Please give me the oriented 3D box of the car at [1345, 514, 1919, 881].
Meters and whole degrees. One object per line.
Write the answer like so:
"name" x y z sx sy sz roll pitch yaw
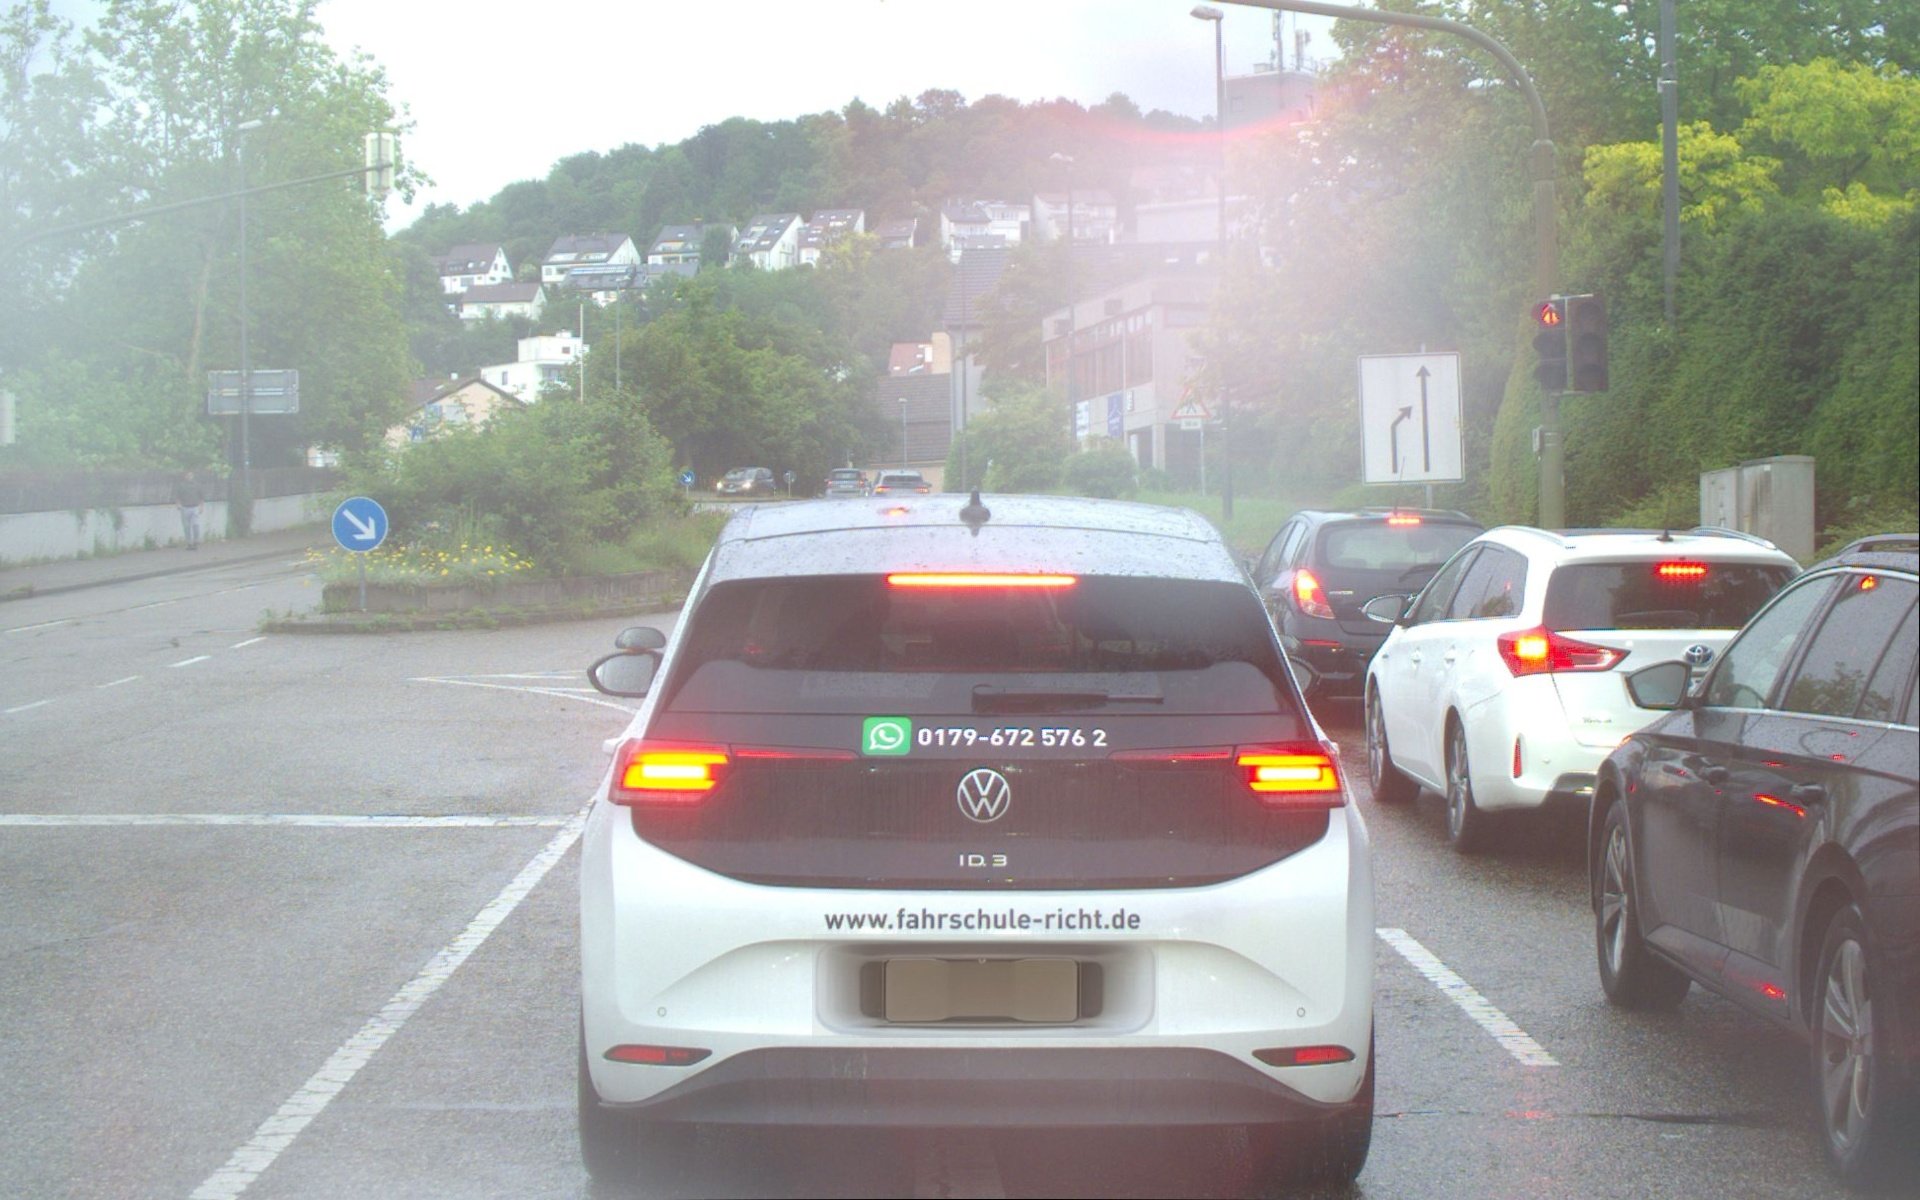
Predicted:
"car" 3.031 0.353 16.302 1.837 1.461 4.117 1 2 -1

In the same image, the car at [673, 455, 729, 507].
"car" -10.660 -4.875 141.568 1.993 2.007 4.000 1 0 0

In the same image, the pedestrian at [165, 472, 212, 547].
"pedestrian" -16.454 -1.932 73.326 0.760 1.562 0.825 -2 1 -1

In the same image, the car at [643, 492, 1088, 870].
"car" -0.437 0.278 16.540 1.837 1.549 4.175 1 2 -1

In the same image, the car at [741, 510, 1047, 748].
"car" -0.440 0.125 22.871 1.837 1.395 3.831 1 2 -1

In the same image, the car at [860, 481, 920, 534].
"car" -2.167 -2.886 107.679 1.775 1.575 4.000 -2 1 0

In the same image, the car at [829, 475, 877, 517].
"car" -4.240 -4.122 137.102 1.775 1.575 4.000 -2 1 0

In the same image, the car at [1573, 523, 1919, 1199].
"car" 2.859 0.571 8.785 1.838 1.461 4.350 1 2 1

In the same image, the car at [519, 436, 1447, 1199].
"car" -0.001 0.433 9.240 1.837 1.623 4.616 1 2 -1

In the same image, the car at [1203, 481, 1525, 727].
"car" 2.793 -0.011 24.575 1.775 1.576 4.000 1 1 0
